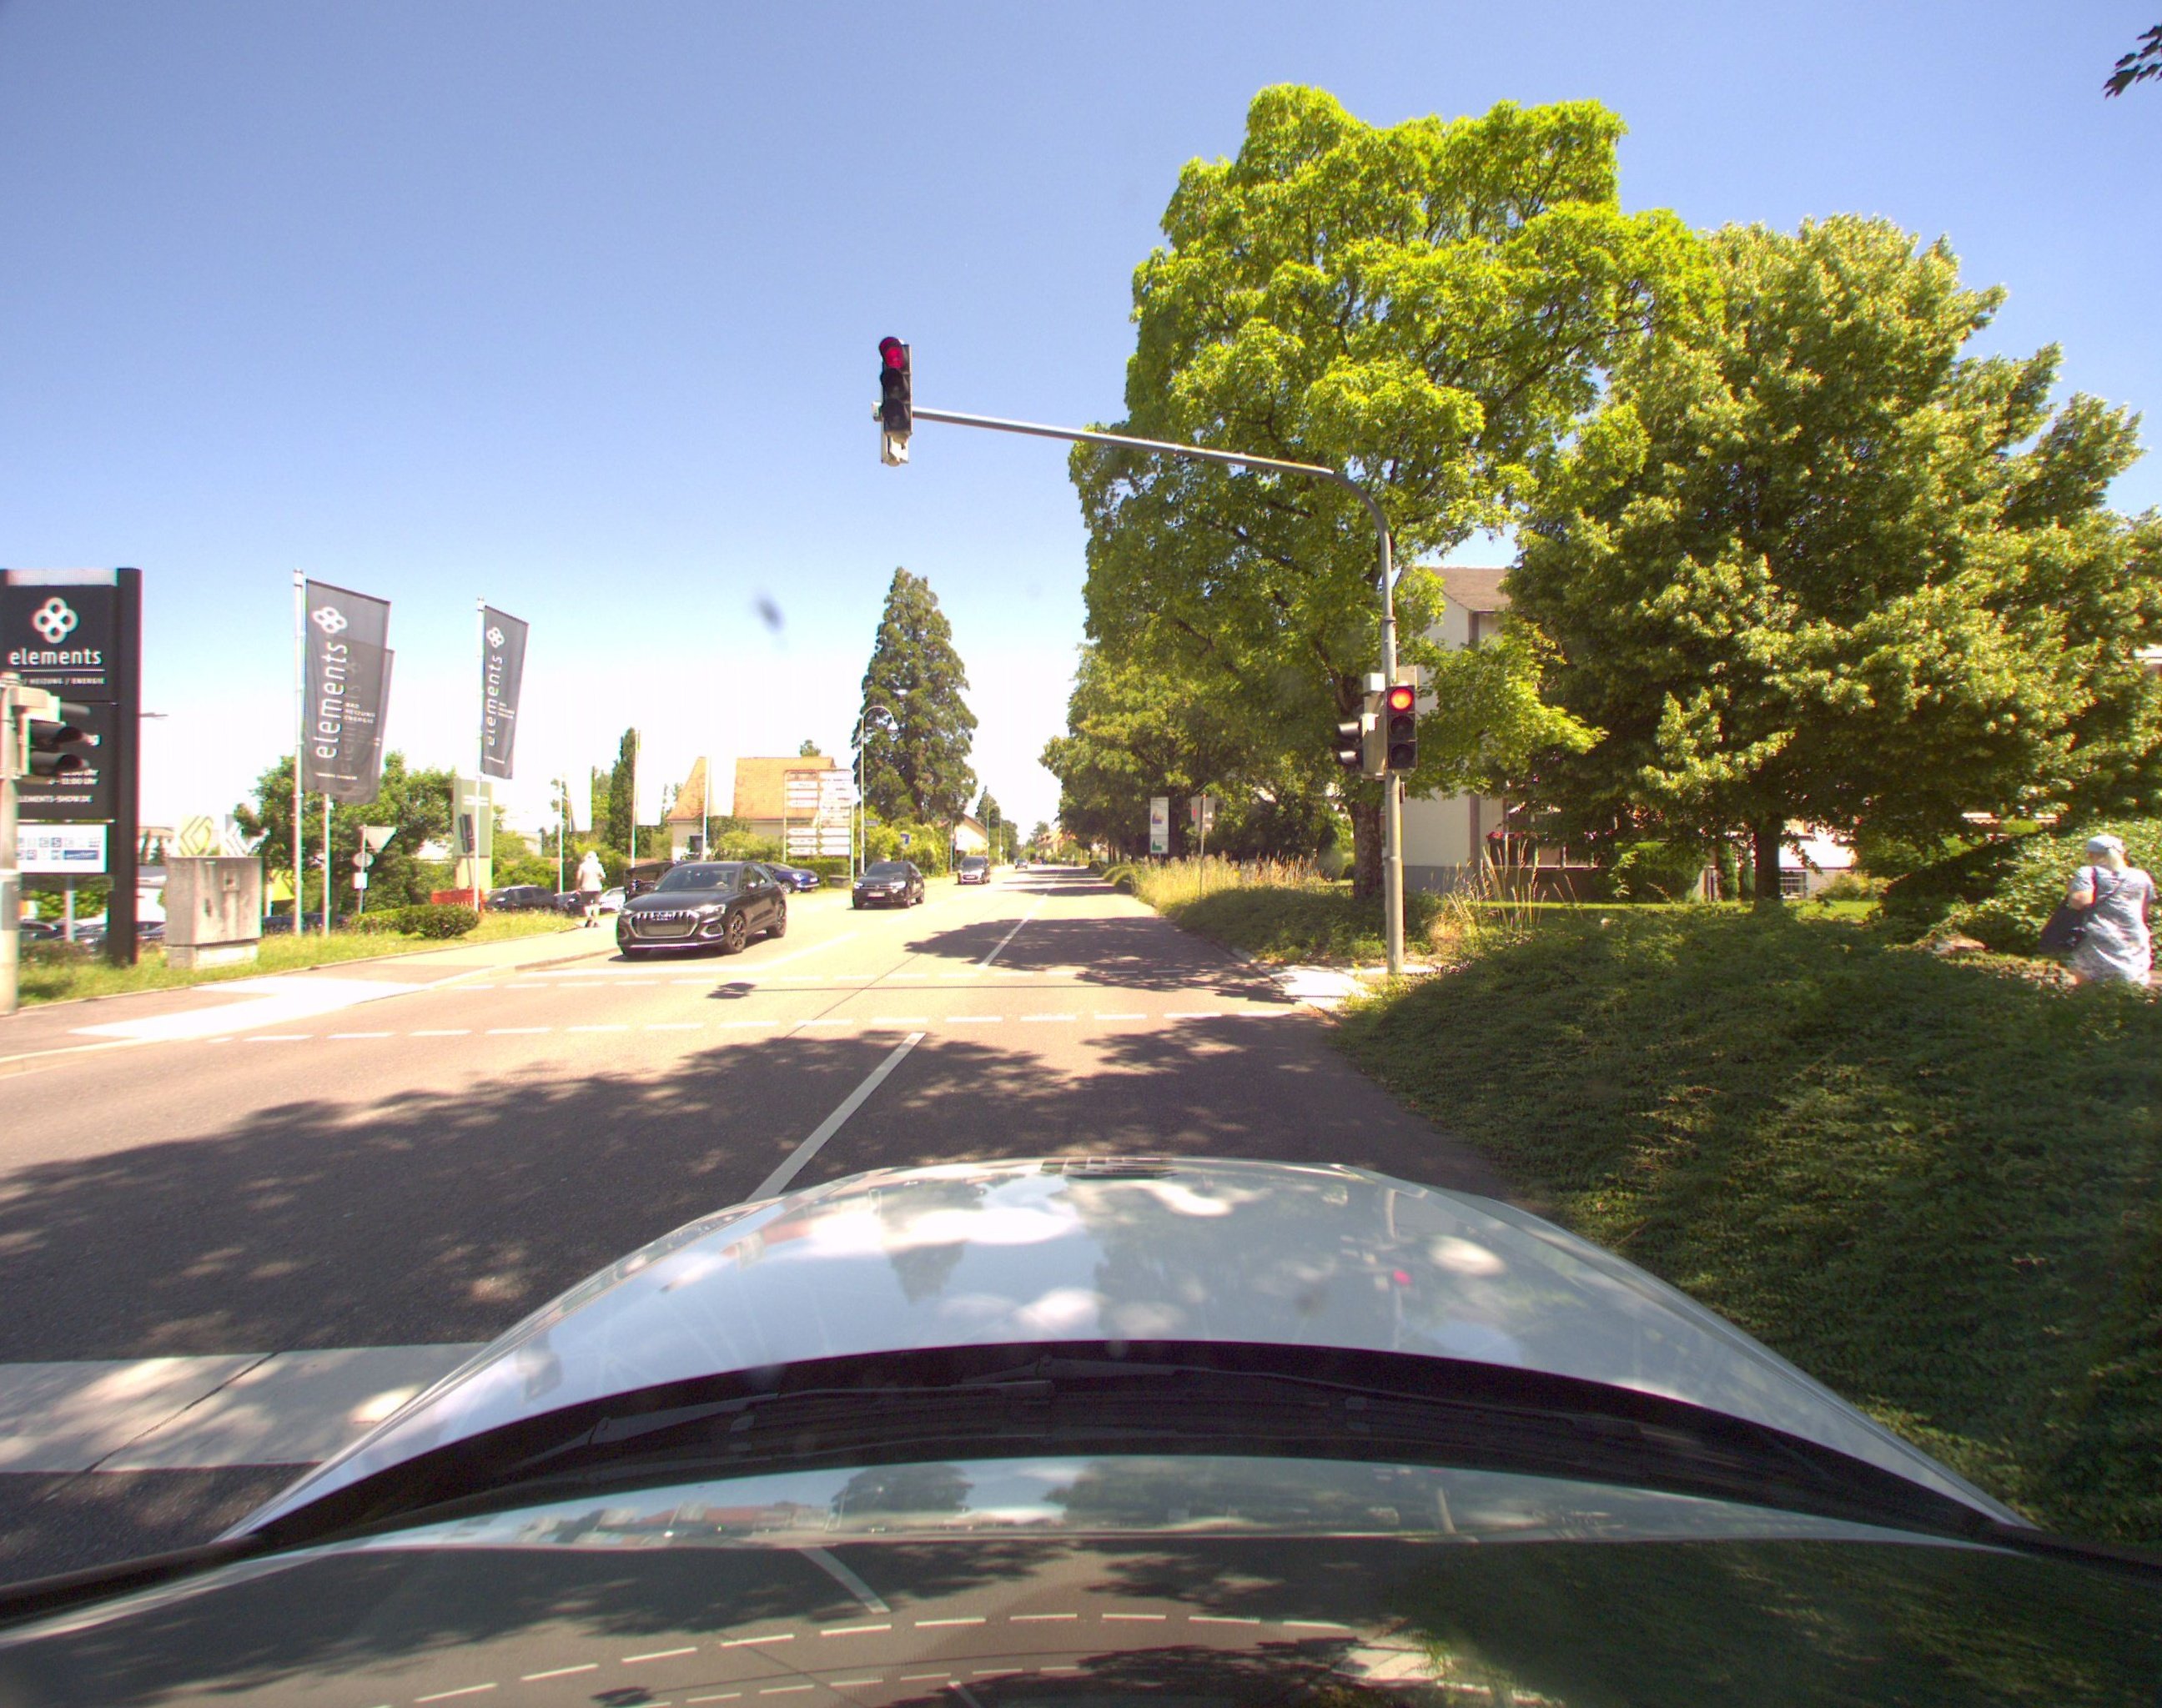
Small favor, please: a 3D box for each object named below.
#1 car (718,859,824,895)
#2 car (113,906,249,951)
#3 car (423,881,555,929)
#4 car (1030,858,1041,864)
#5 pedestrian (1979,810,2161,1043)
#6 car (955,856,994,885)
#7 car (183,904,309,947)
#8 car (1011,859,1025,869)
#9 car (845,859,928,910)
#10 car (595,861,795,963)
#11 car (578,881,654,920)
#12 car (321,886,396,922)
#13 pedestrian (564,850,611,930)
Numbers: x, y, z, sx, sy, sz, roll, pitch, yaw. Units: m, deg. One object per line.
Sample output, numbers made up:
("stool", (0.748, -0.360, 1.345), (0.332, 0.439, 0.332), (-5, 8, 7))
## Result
("car", (-13.917, 1.022, 36.672), (4.109, 1.504, 1.782), (-1, 0, 10))
("car", (-37.176, 3.024, 33.818), (1.754, 1.486, 3.983), (-1, 0, -12))
("car", (-23.948, 2.020, 33.136), (1.795, 1.722, 4.106), (-1, 0, 16))
("car", (-11.848, 1.813, 211.115), (1.948, 1.359, 4.438), (-1, 0, -16))
("pedestrian", (7.673, 0.509, 6.199), (0.717, 1.633, 0.849), (-1, -1, -7))
("car", (-6.711, 0.990, 51.783), (1.804, 1.762, 4.571), (-1, 0, 1))
("car", (-34.466, 2.912, 33.761), (1.647, 1.415, 3.855), (-1, 0, -9))
("car", (-9.436, 1.488, 122.439), (1.788, 1.536, 4.313), (-1, 0, -1))
("car", (-6.302, 0.951, 26.872), (1.864, 1.507, 4.049), (-1, 0, -2))
("car", (-6.879, 0.931, 15.091), (1.923, 1.555, 4.295), (-1, 0, -5))
("car", (-23.392, 2.290, 41.164), (1.806, 1.722, 4.081), (0, 0, -6))
("car", (-39.687, 2.689, 44.873), (1.816, 1.722, 4.059), (0, 0, -22))
("pedestrian", (-11.151, 0.794, 18.397), (0.538, 1.761, 0.706), (-1, -1, 28))
